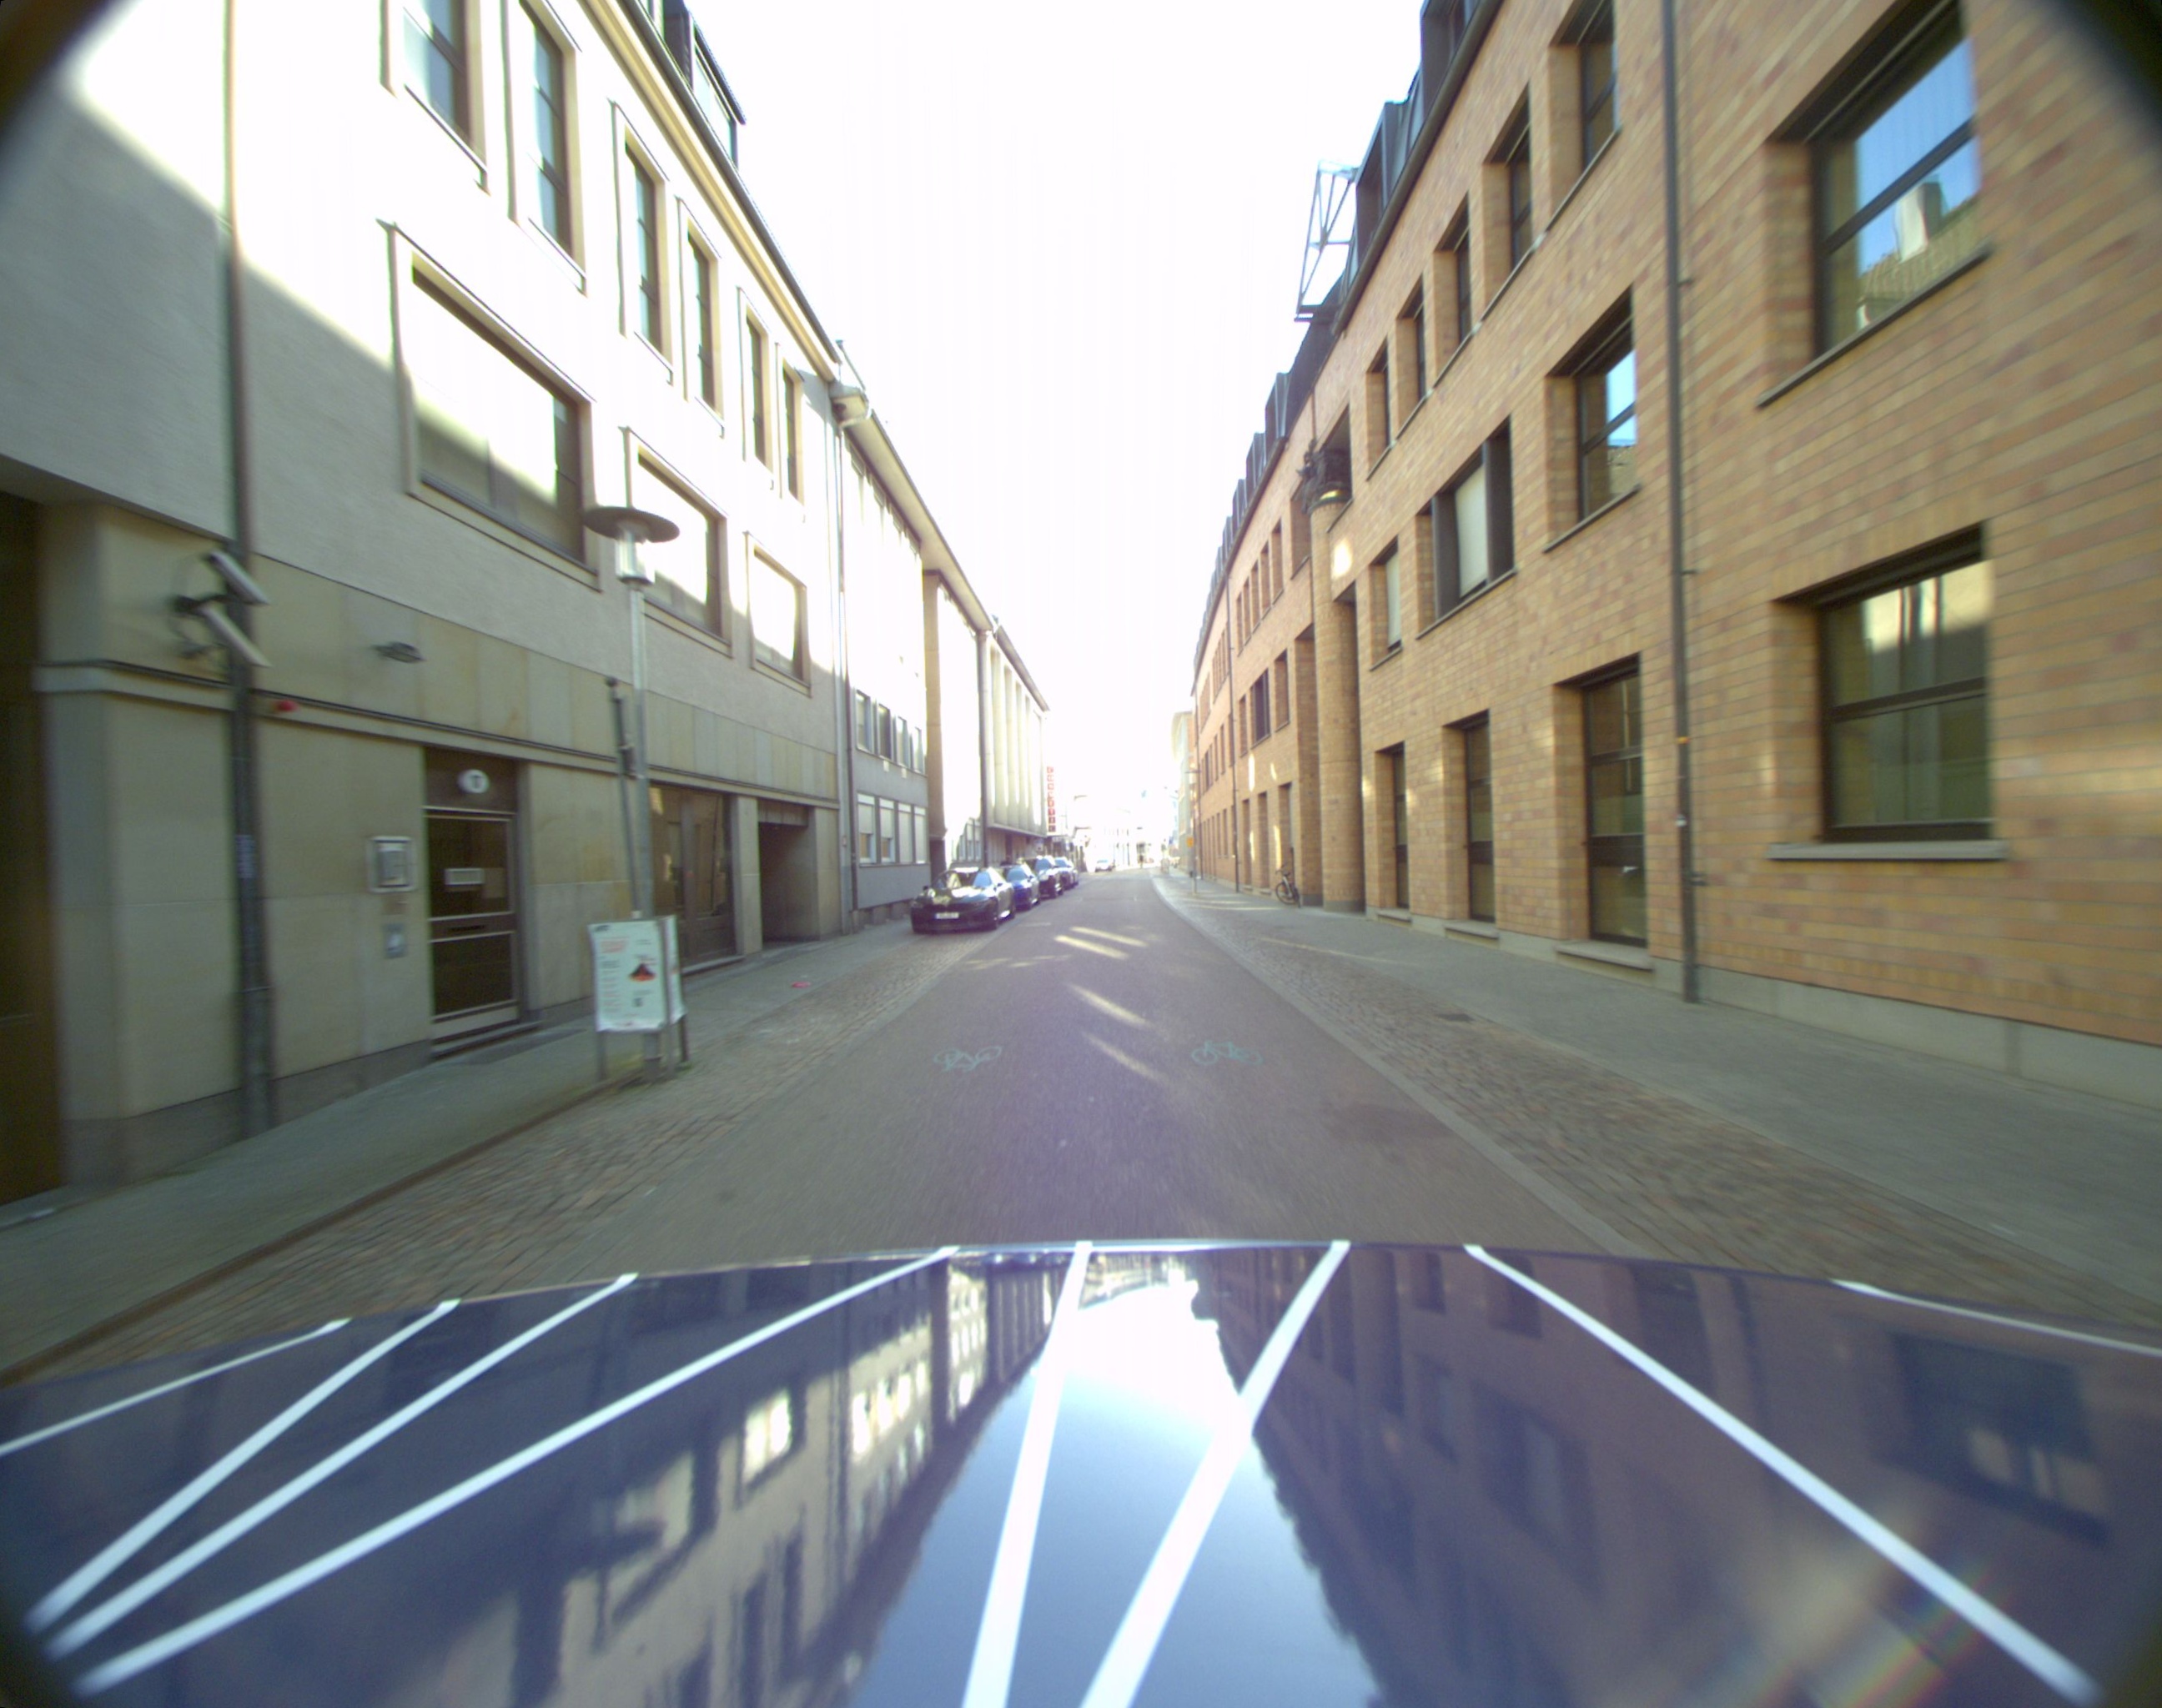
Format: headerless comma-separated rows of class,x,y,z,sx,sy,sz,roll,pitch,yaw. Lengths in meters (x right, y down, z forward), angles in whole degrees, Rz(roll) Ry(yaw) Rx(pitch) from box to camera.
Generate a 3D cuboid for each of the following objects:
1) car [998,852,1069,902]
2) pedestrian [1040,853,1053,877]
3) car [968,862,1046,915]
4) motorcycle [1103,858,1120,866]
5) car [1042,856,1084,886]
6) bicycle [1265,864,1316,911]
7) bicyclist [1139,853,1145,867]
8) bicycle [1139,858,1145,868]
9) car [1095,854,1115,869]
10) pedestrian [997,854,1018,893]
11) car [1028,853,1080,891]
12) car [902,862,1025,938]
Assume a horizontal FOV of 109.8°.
car,-1.830,0.862,31.099,2.108,1.775,5.053,-3,0,4
pedestrian,-2.480,0.802,54.545,0.623,1.726,0.625,-3,1,-42
car,-2.306,1.043,24.935,1.811,1.404,4.790,-4,0,3
motorcycle,3.813,0.986,95.221,1.995,0.950,0.646,-2,1,19
car,-1.002,0.959,43.899,1.827,1.496,4.601,-5,0,5
bicycle,5.590,0.877,20.414,0.633,1.156,1.803,-5,0,-5
bicyclist,7.444,0.729,92.766,0.663,1.633,0.926,2,2,6
bicycle,7.417,1.057,92.634,0.652,1.125,1.736,2,1,7
car,2.723,0.811,84.144,1.846,1.453,4.000,-3,0,6
pedestrian,-3.251,0.860,33.633,0.790,1.711,0.746,0,1,4
car,-1.298,0.855,38.486,1.998,1.692,4.844,-4,0,4
car,-2.717,1.019,18.912,1.898,1.444,5.226,-3,0,3
